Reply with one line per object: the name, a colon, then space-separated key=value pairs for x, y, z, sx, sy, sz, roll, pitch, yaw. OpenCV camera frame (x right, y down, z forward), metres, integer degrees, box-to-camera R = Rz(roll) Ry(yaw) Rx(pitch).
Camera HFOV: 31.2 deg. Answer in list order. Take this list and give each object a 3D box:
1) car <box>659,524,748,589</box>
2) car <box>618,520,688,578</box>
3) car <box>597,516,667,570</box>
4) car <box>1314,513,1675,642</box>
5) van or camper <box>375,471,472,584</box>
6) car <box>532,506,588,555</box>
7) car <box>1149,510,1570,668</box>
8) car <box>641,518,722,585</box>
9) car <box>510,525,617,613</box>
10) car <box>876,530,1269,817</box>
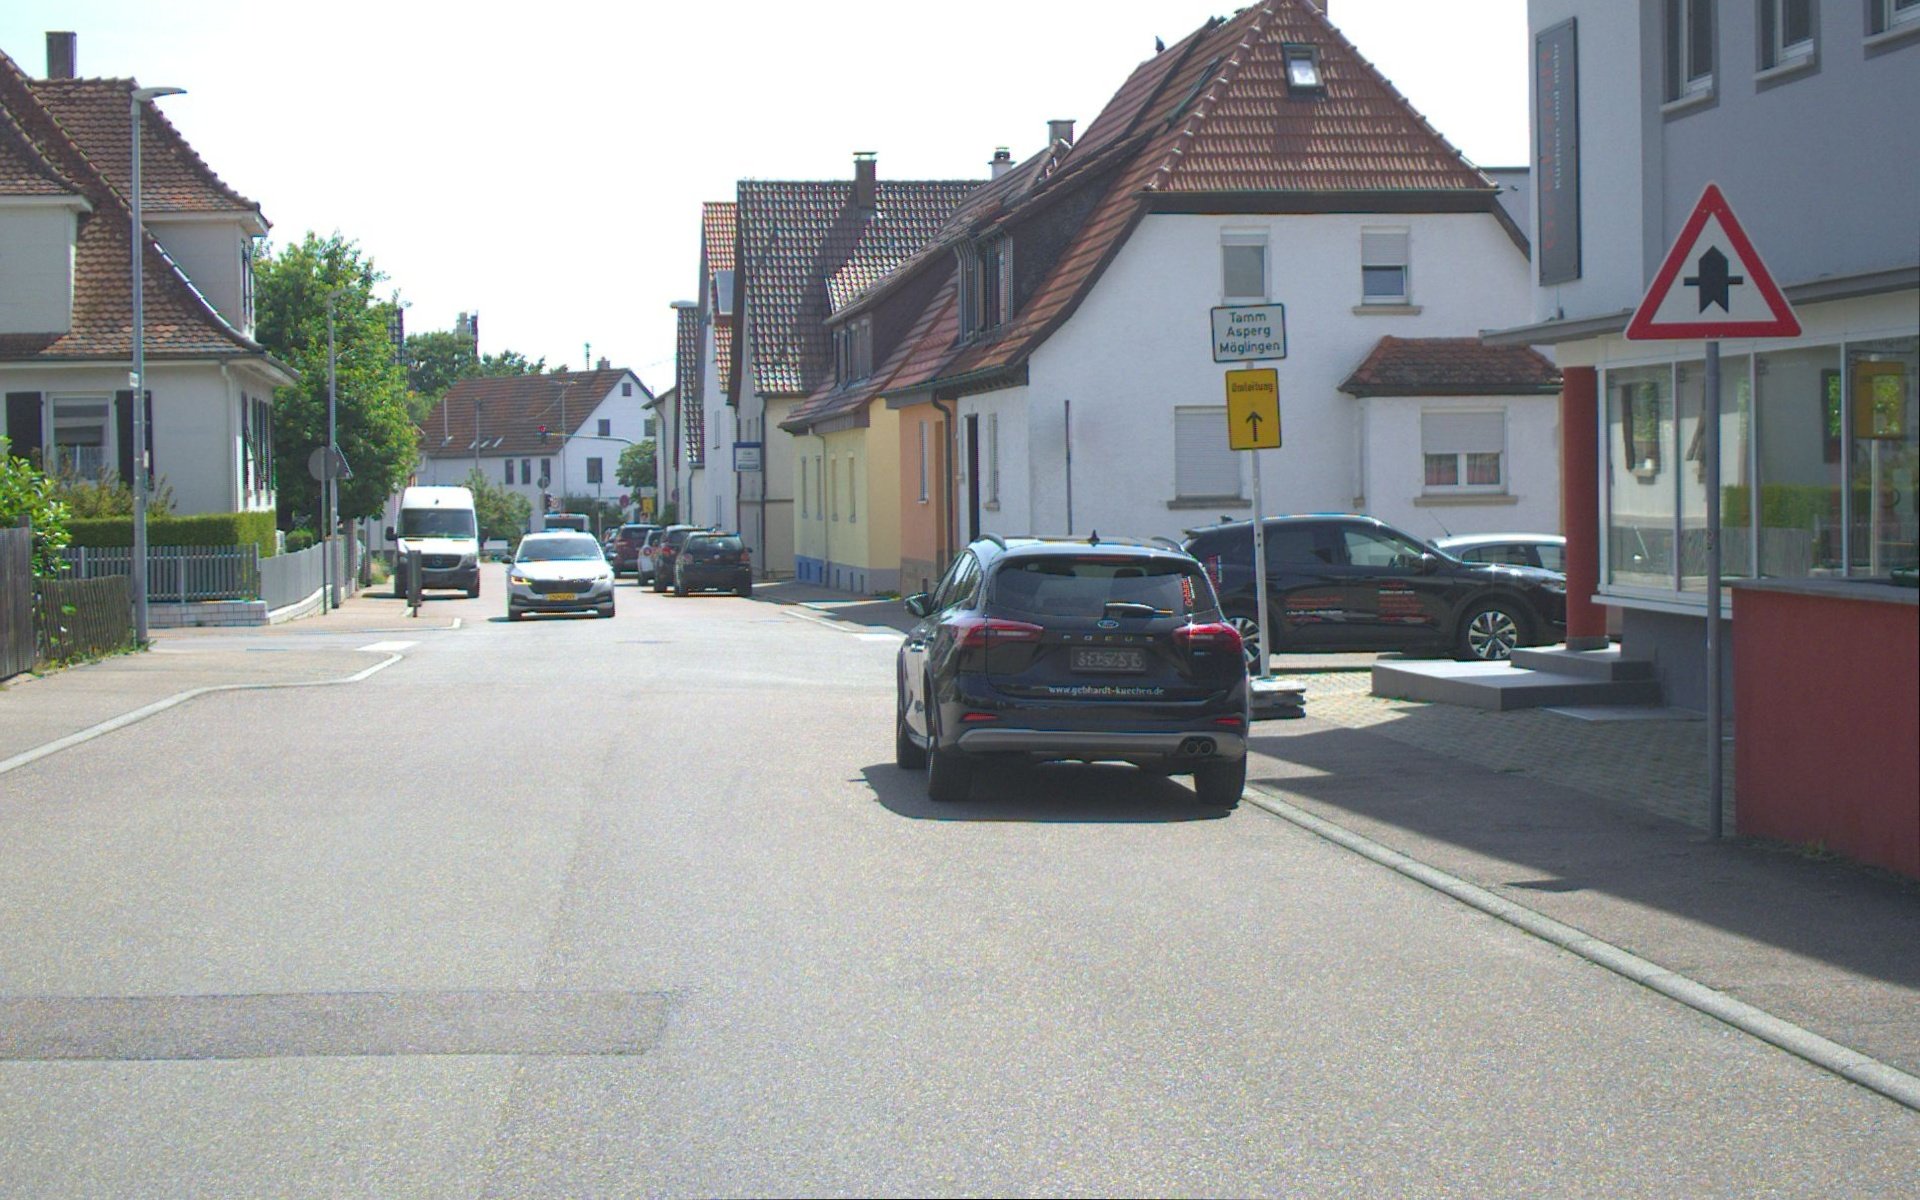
car: x=-5.789 y=-0.995 z=77.346 sx=1.610 sy=1.426 sz=3.755 roll=0 pitch=1 yaw=-10
car: x=-8.483 y=-1.421 z=94.861 sx=1.673 sy=1.553 sz=3.041 roll=0 pitch=1 yaw=-10
car: x=-10.494 y=-1.833 z=109.698 sx=1.875 sy=1.694 sz=4.184 roll=0 pitch=1 yaw=-10
car: x=6.327 y=-0.283 z=40.945 sx=3.986 sy=1.499 sz=1.695 roll=0 pitch=1 yaw=-2
van or camper: x=-12.770 y=-1.730 z=81.947 sx=2.184 sy=2.563 sz=6.809 roll=0 pitch=1 yaw=-9
car: x=-17.957 y=-3.126 z=154.448 sx=2.128 sy=2.151 sz=4.737 roll=-1 pitch=1 yaw=-2
car: x=4.222 y=-0.134 z=36.836 sx=4.293 sy=1.647 sz=1.848 roll=0 pitch=1 yaw=0
car: x=-6.742 y=-1.189 z=82.892 sx=1.728 sy=1.594 sz=4.254 roll=0 pitch=1 yaw=-8
car: x=-6.791 y=-0.564 z=58.736 sx=1.753 sy=1.433 sz=4.589 roll=0 pitch=1 yaw=-7
car: x=0.553 y=0.350 z=20.648 sx=1.761 sy=1.522 sz=4.407 roll=0 pitch=1 yaw=-6
